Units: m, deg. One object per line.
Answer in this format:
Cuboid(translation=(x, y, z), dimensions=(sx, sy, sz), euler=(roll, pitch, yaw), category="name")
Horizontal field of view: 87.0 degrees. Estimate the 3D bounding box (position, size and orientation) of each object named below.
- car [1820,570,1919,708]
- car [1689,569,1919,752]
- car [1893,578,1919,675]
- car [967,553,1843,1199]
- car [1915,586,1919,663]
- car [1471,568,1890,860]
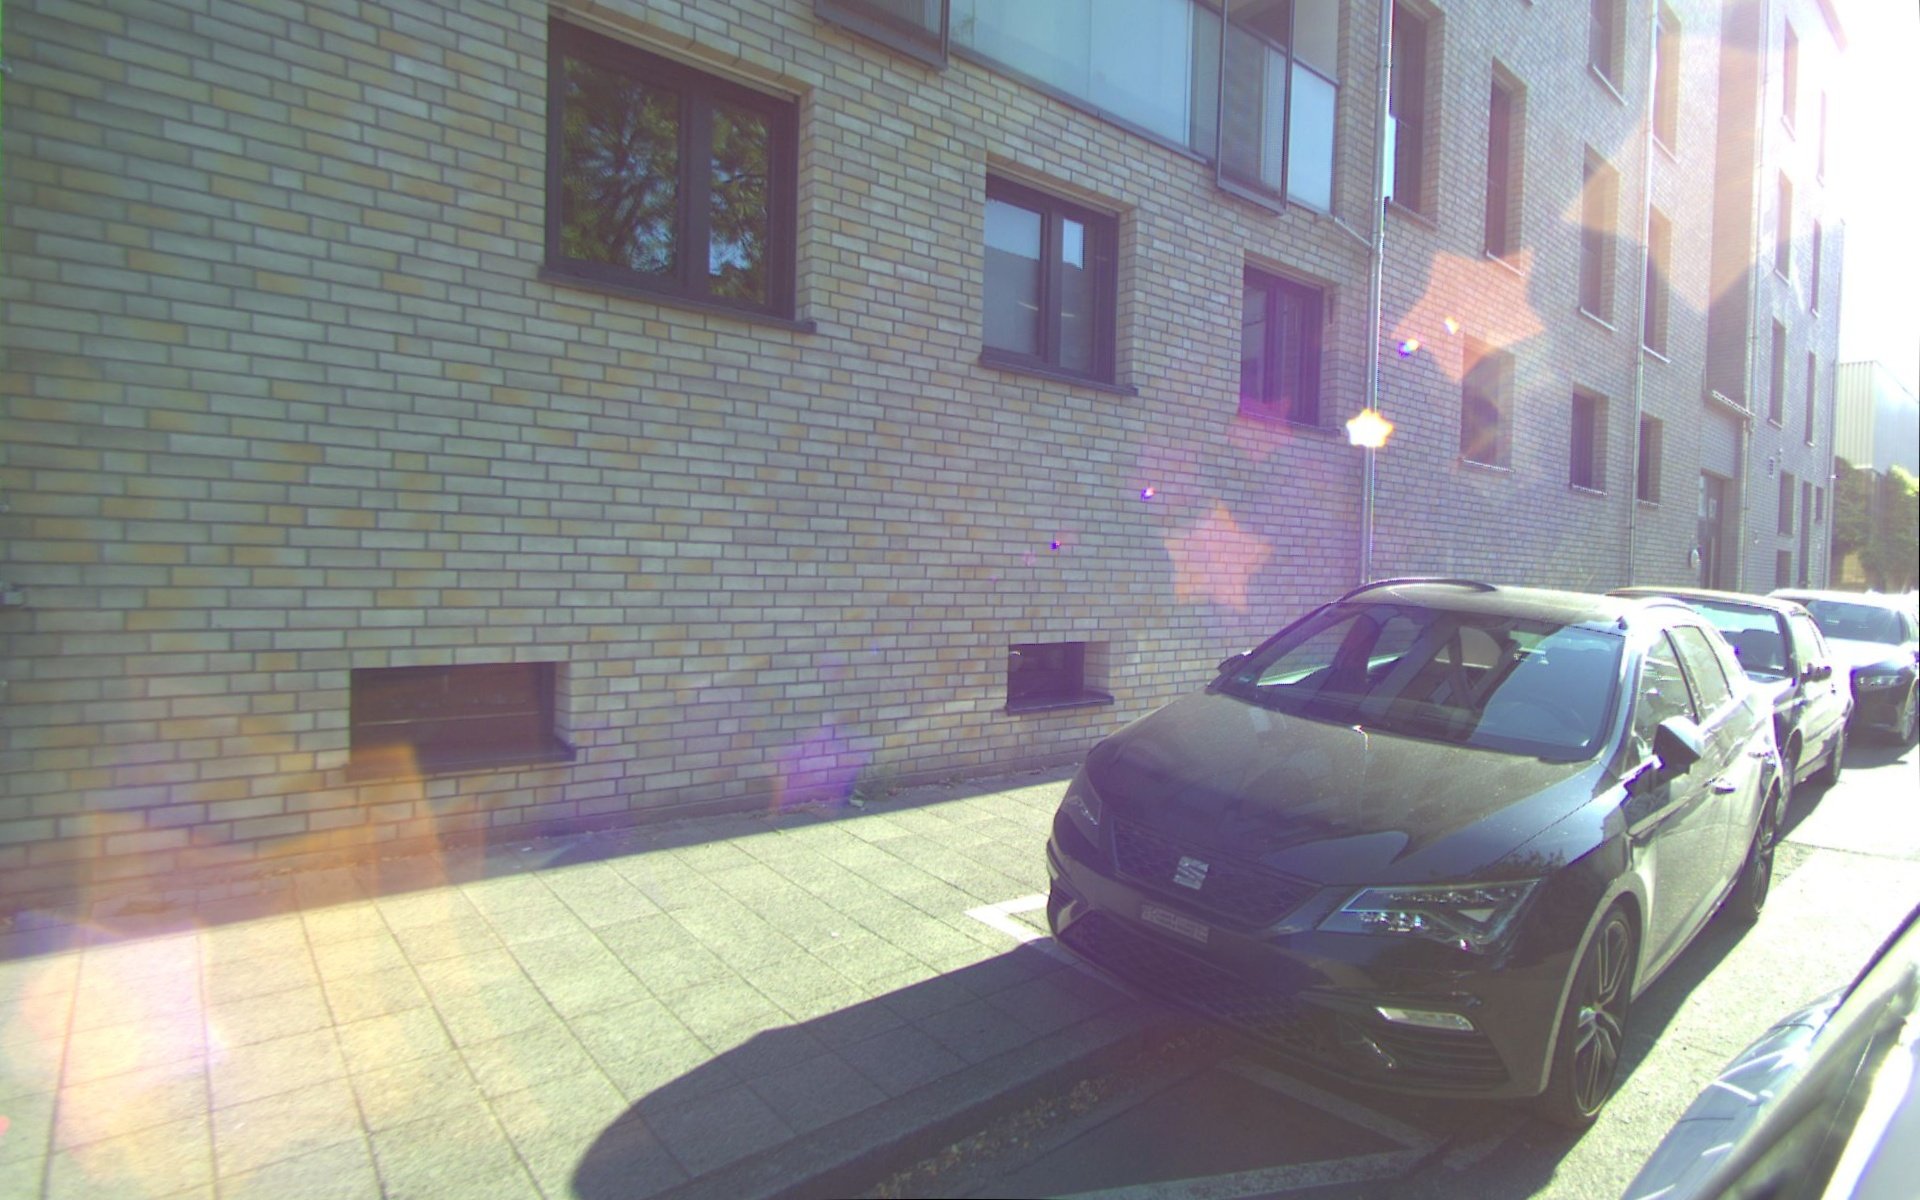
Cuboid(translation=(13.942, 0.495, 14.619), dimensions=(4.756, 1.755, 1.670), euler=(0, 2, -42), category="car")
Cuboid(translation=(9.898, 0.529, 11.320), dimensions=(4.544, 1.547, 1.730), euler=(0, 5, -41), category="car")
Cuboid(translation=(17.888, 0.491, 17.939), dimensions=(4.270, 1.611, 1.653), euler=(0, 3, -44), category="car")
Cuboid(translation=(2.307, 0.632, 4.318), dimensions=(4.640, 1.485, 1.699), euler=(0, 3, -43), category="car")
Cuboid(translation=(21.076, 0.513, 20.963), dimensions=(3.595, 1.542, 1.728), euler=(0, 2, -45), category="car")
Cuboid(translation=(5.538, 0.604, 7.559), dimensions=(4.147, 1.534, 1.666), euler=(0, 3, -43), category="car")
